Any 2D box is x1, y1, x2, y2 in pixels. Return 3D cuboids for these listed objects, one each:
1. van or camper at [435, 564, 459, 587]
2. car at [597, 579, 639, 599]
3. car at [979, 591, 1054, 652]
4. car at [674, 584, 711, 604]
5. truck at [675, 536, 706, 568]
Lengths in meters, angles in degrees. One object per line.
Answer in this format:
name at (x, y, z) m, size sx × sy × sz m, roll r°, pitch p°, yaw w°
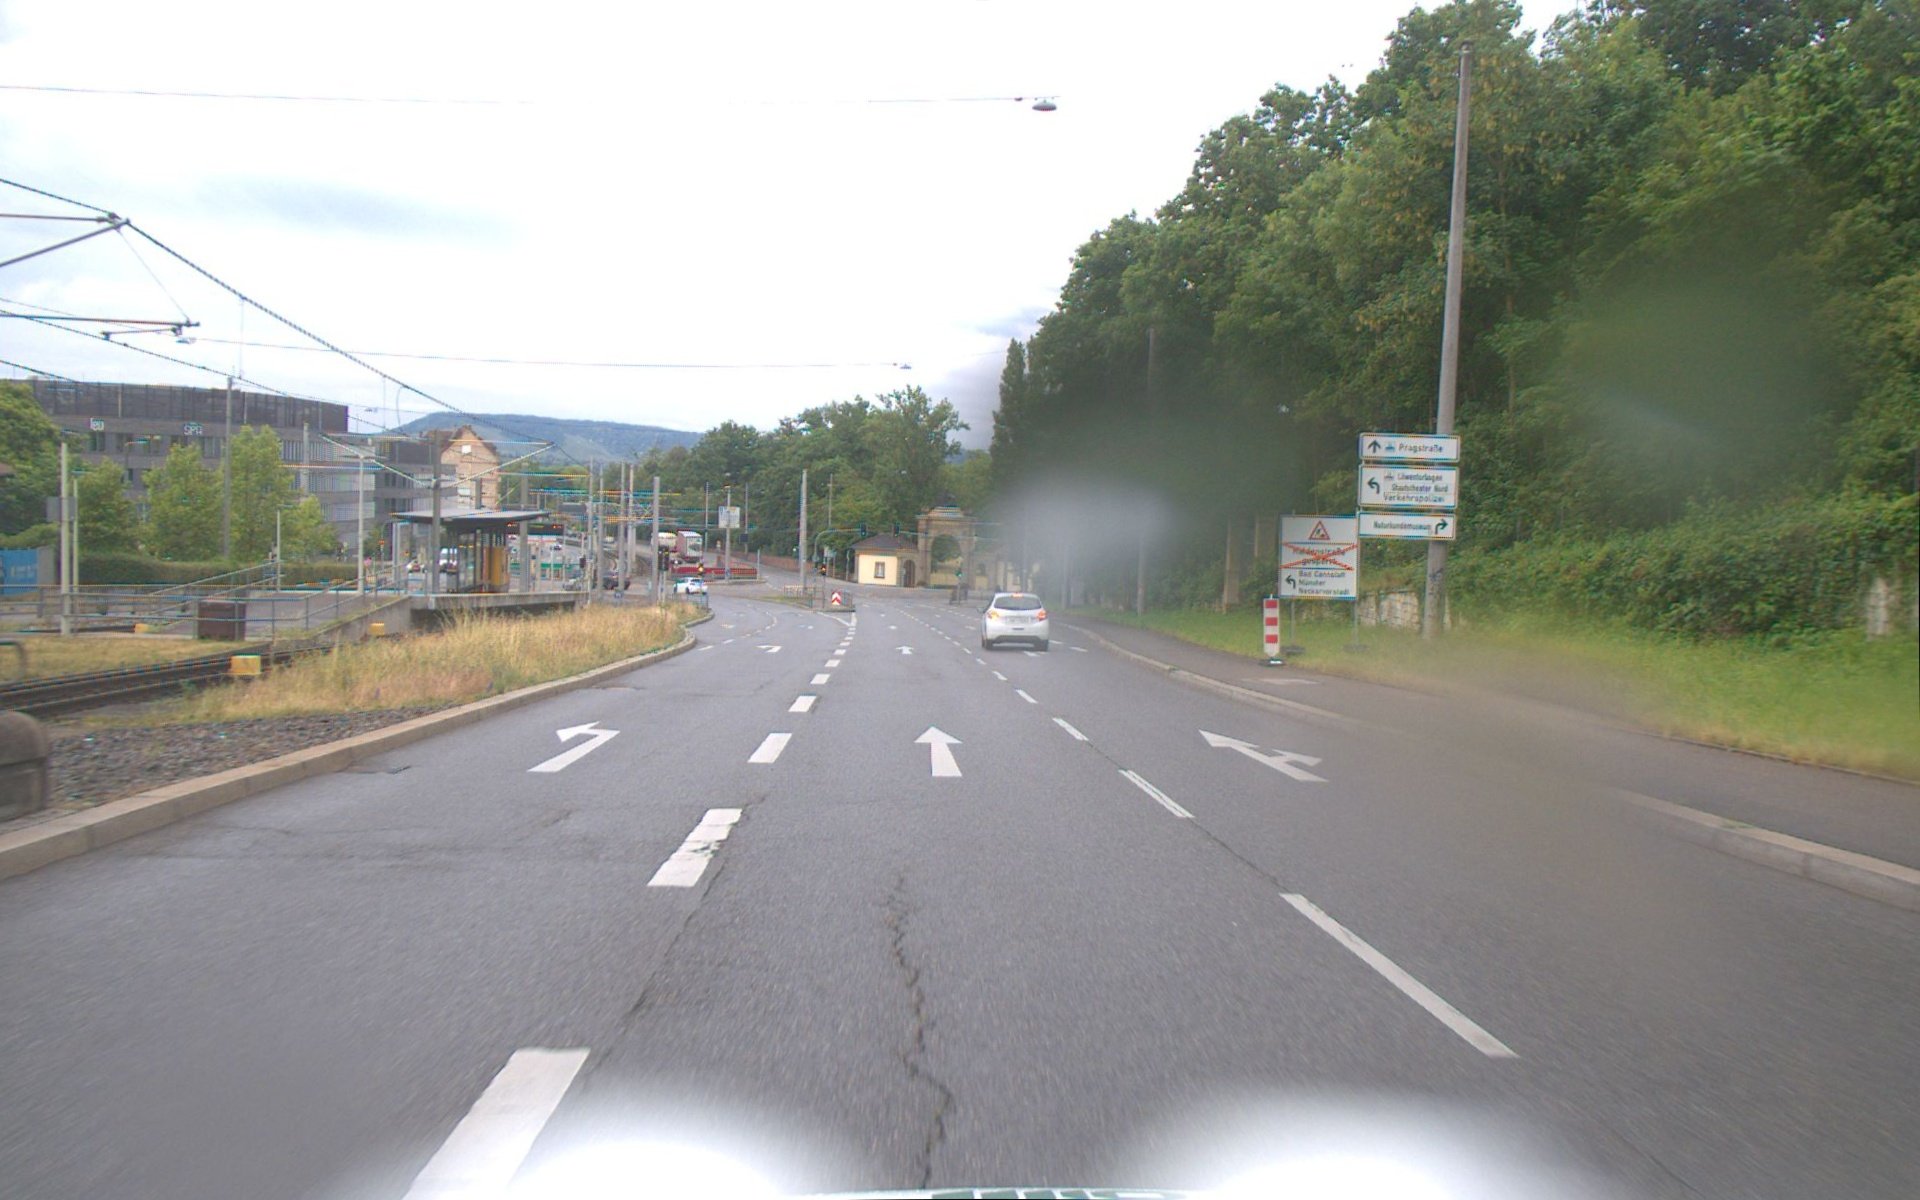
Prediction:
van or camper at (-55.218, -2.638, 178.013) m, size 1.958 × 2.386 × 3.990 m, roll -1°, pitch 0°, yaw -11°
car at (-30.407, -0.978, 147.005) m, size 1.981 × 1.735 × 3.943 m, roll 1°, pitch 0°, yaw -39°
car at (1.458, 0.556, 44.110) m, size 1.830 × 1.537 × 3.899 m, roll 0°, pitch 0°, yaw -1°
car at (-22.176, -0.488, 137.087) m, size 1.803 × 1.634 × 3.960 m, roll 0°, pitch 1°, yaw -30°
truck at (-42.092, -7.498, 258.041) m, size 3.359 × 4.649 × 11.240 m, roll 4°, pitch 0°, yaw -16°
